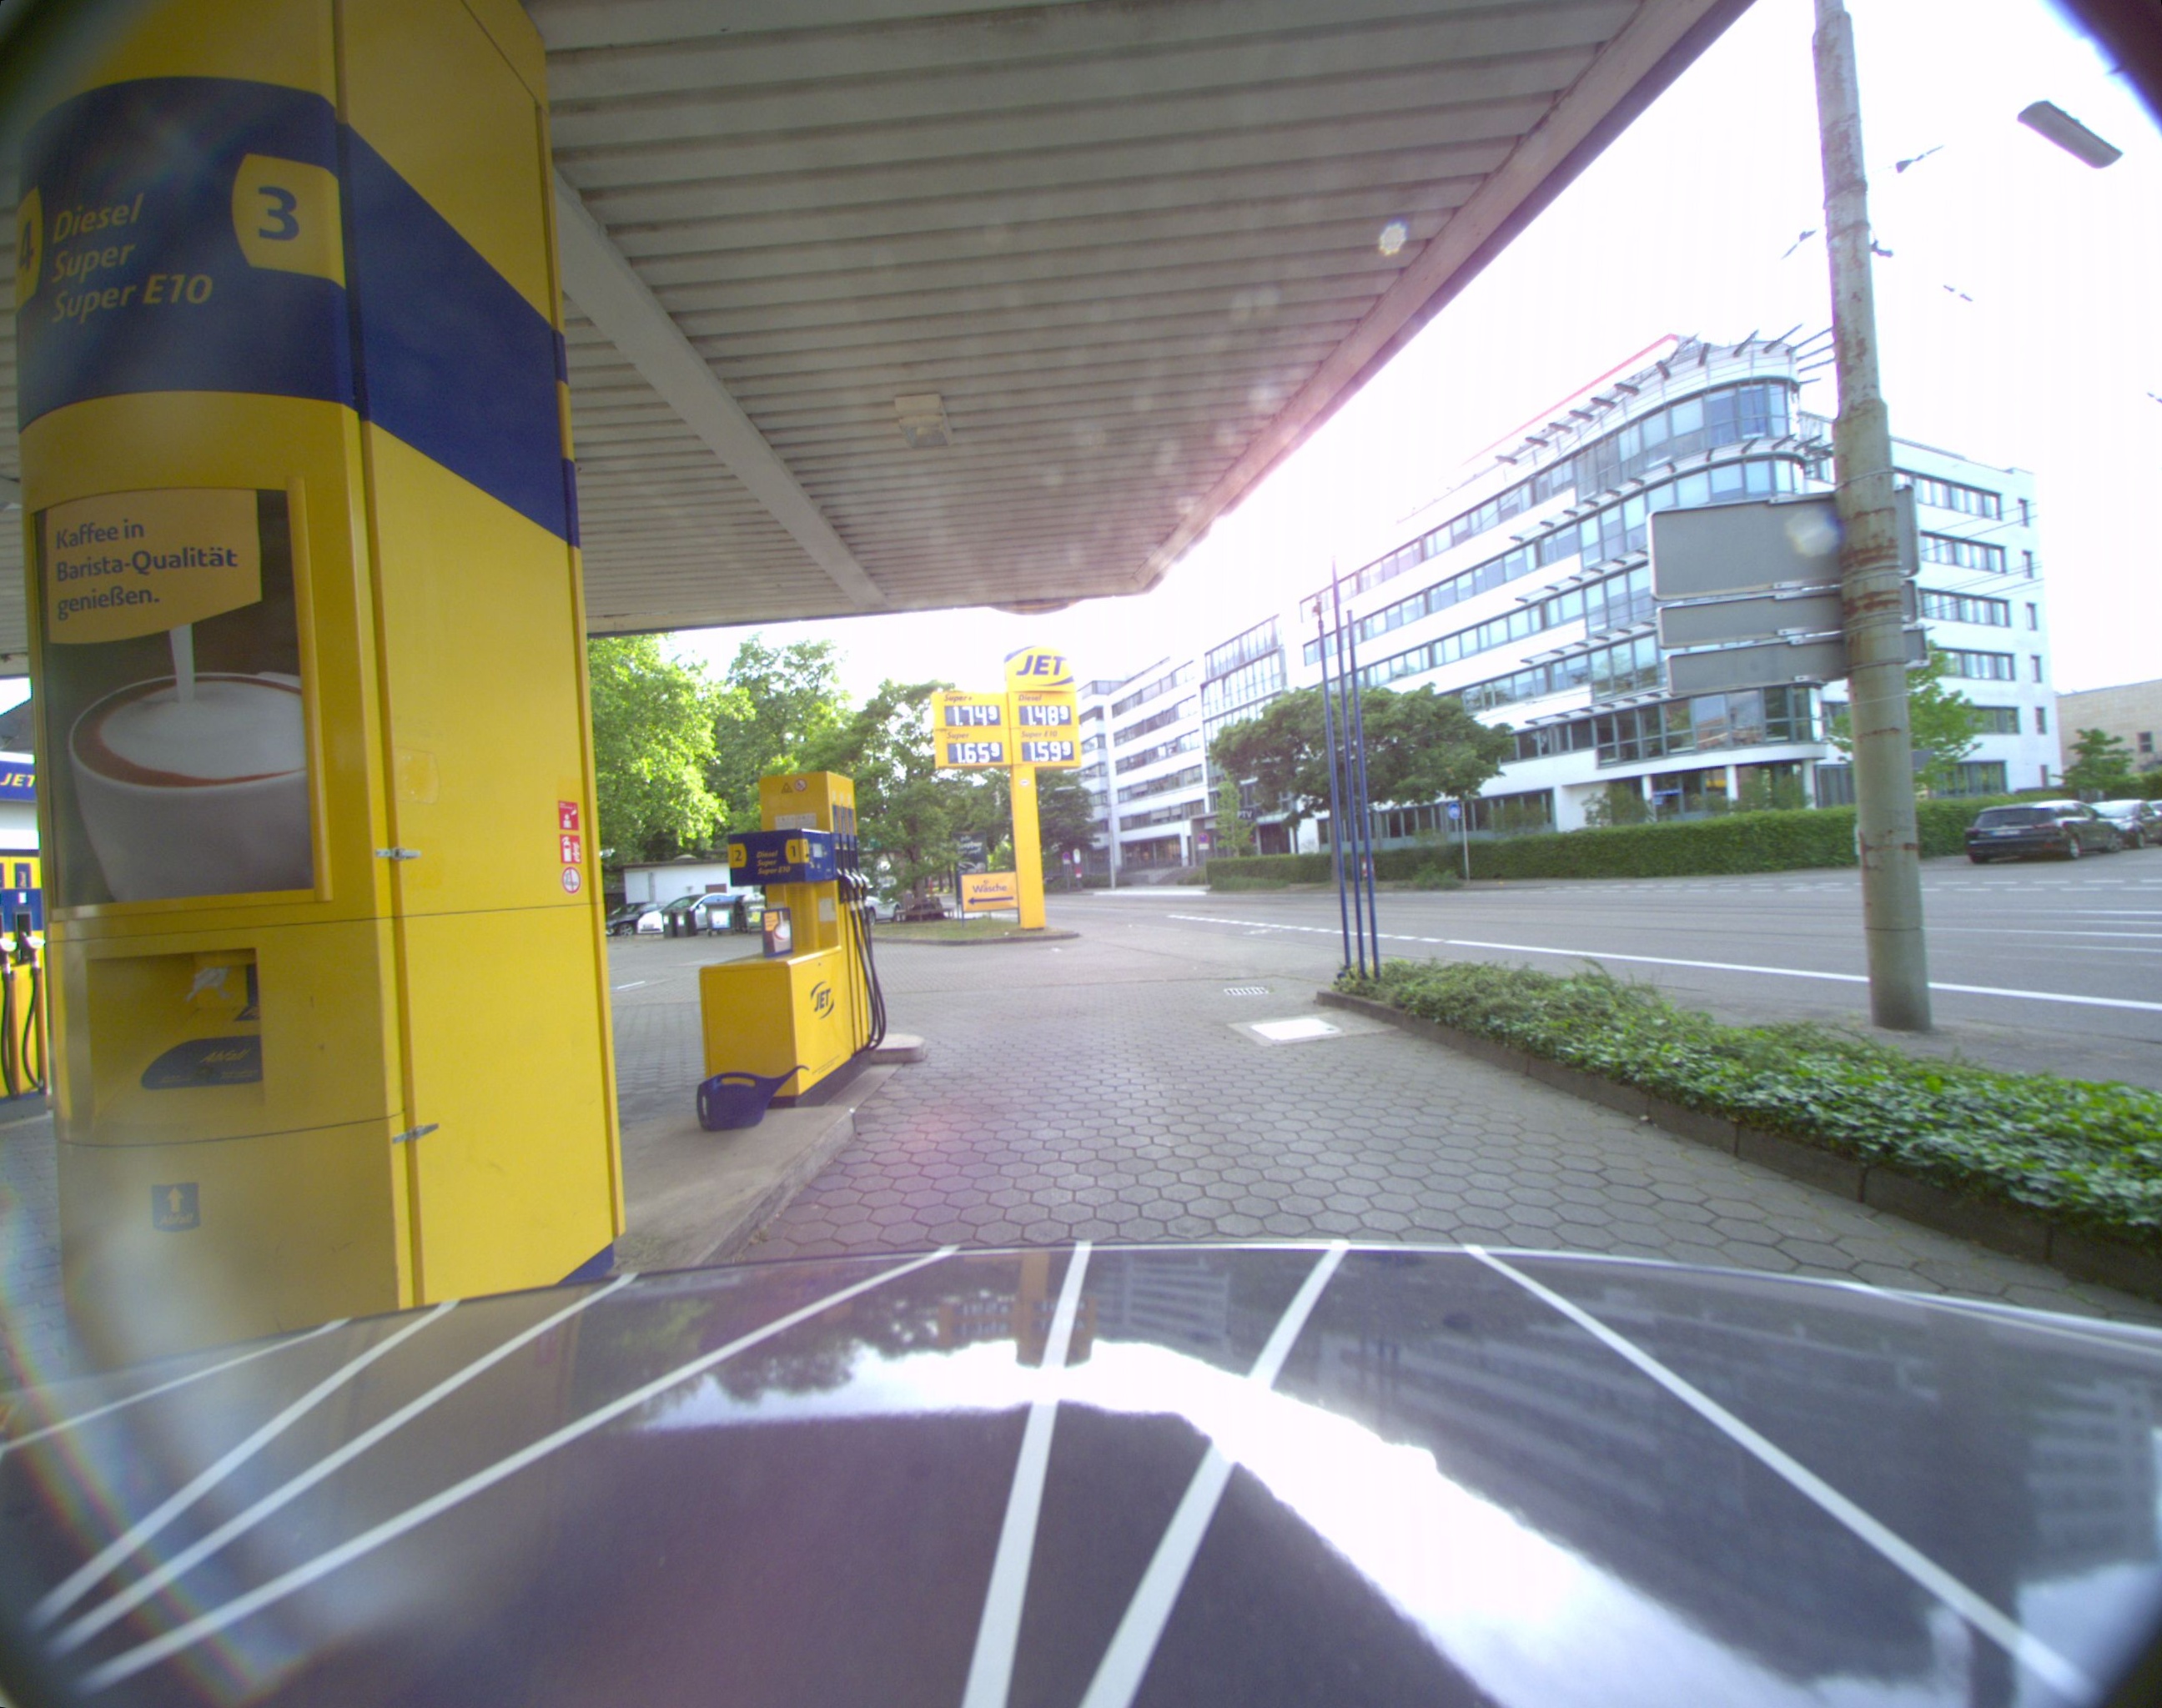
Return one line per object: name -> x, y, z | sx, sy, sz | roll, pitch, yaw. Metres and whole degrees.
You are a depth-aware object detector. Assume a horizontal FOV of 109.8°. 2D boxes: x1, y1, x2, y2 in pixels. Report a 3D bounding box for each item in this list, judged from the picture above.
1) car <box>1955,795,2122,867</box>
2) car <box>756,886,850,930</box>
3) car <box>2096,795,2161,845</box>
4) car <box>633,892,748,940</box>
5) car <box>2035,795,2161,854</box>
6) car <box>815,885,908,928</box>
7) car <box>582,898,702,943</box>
car -> 27.412, -0.662, 21.753 | 4.397, 1.678, 1.820 | -4, -1, -24
car -> -11.754, 2.255, 32.461 | 1.823, 1.575, 4.200 | -4, -2, 10
car -> 37.099, -1.240, 26.011 | 4.201, 1.568, 1.820 | -4, -1, -24
car -> -15.397, 2.400, 30.249 | 1.823, 1.575, 4.200 | -4, -2, 10
car -> 32.570, -0.949, 24.063 | 4.201, 1.568, 1.820 | -4, -1, -24
car -> -8.664, 2.038, 30.373 | 1.823, 1.449, 4.200 | -4, -2, 10
car -> -17.542, 2.618, 30.604 | 1.823, 1.426, 4.200 | -4, -2, 10
